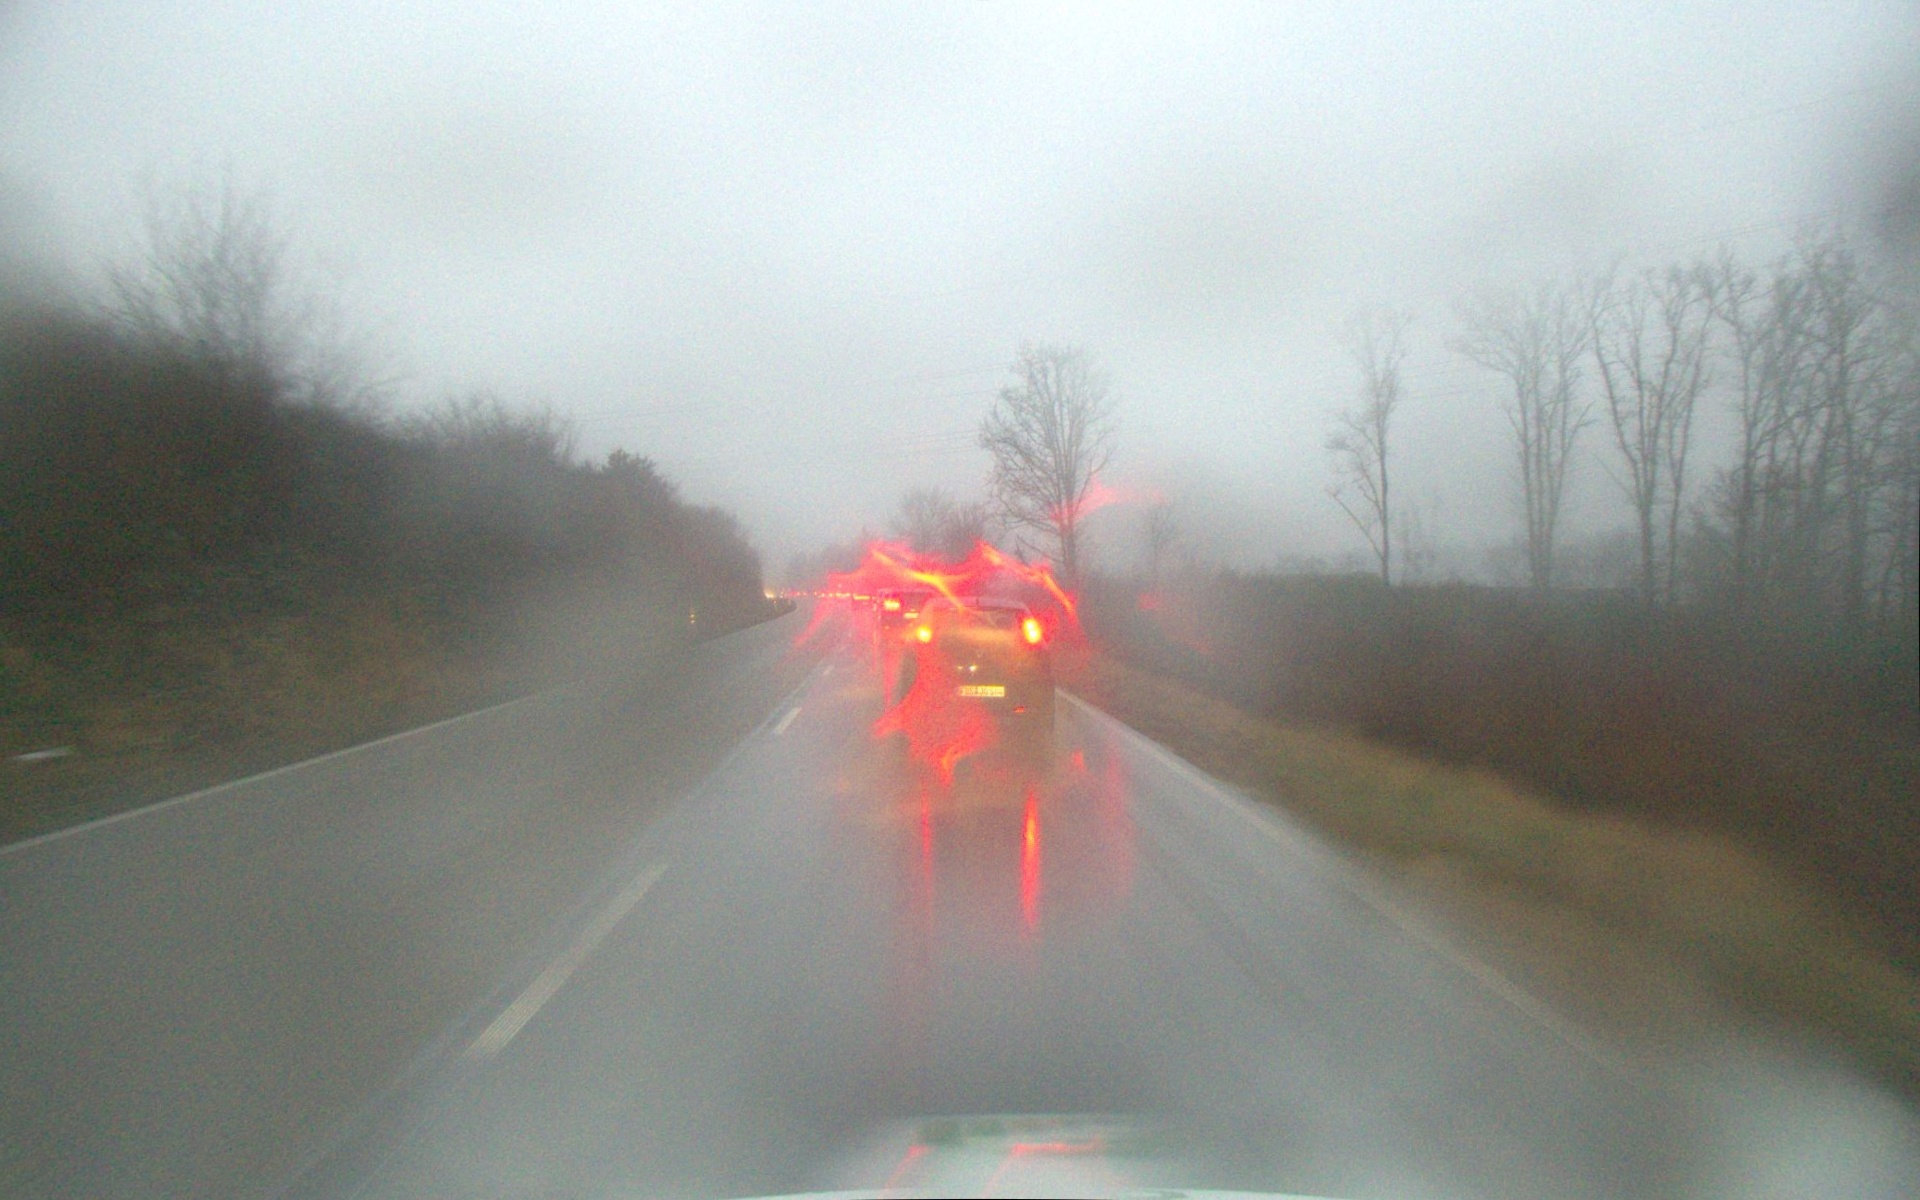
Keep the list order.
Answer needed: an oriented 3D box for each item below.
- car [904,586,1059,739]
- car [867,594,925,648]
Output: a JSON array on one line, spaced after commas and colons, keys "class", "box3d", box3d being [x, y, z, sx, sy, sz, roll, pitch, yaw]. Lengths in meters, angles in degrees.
[{"class": "car", "box3d": [0.250, 0.634, 18.955, 1.569, 1.548, 3.870, 1, 0, 1]}, {"class": "car", "box3d": [-1.764, 0.549, 45.720, 1.516, 1.421, 3.868, 1, 0, -2]}]
